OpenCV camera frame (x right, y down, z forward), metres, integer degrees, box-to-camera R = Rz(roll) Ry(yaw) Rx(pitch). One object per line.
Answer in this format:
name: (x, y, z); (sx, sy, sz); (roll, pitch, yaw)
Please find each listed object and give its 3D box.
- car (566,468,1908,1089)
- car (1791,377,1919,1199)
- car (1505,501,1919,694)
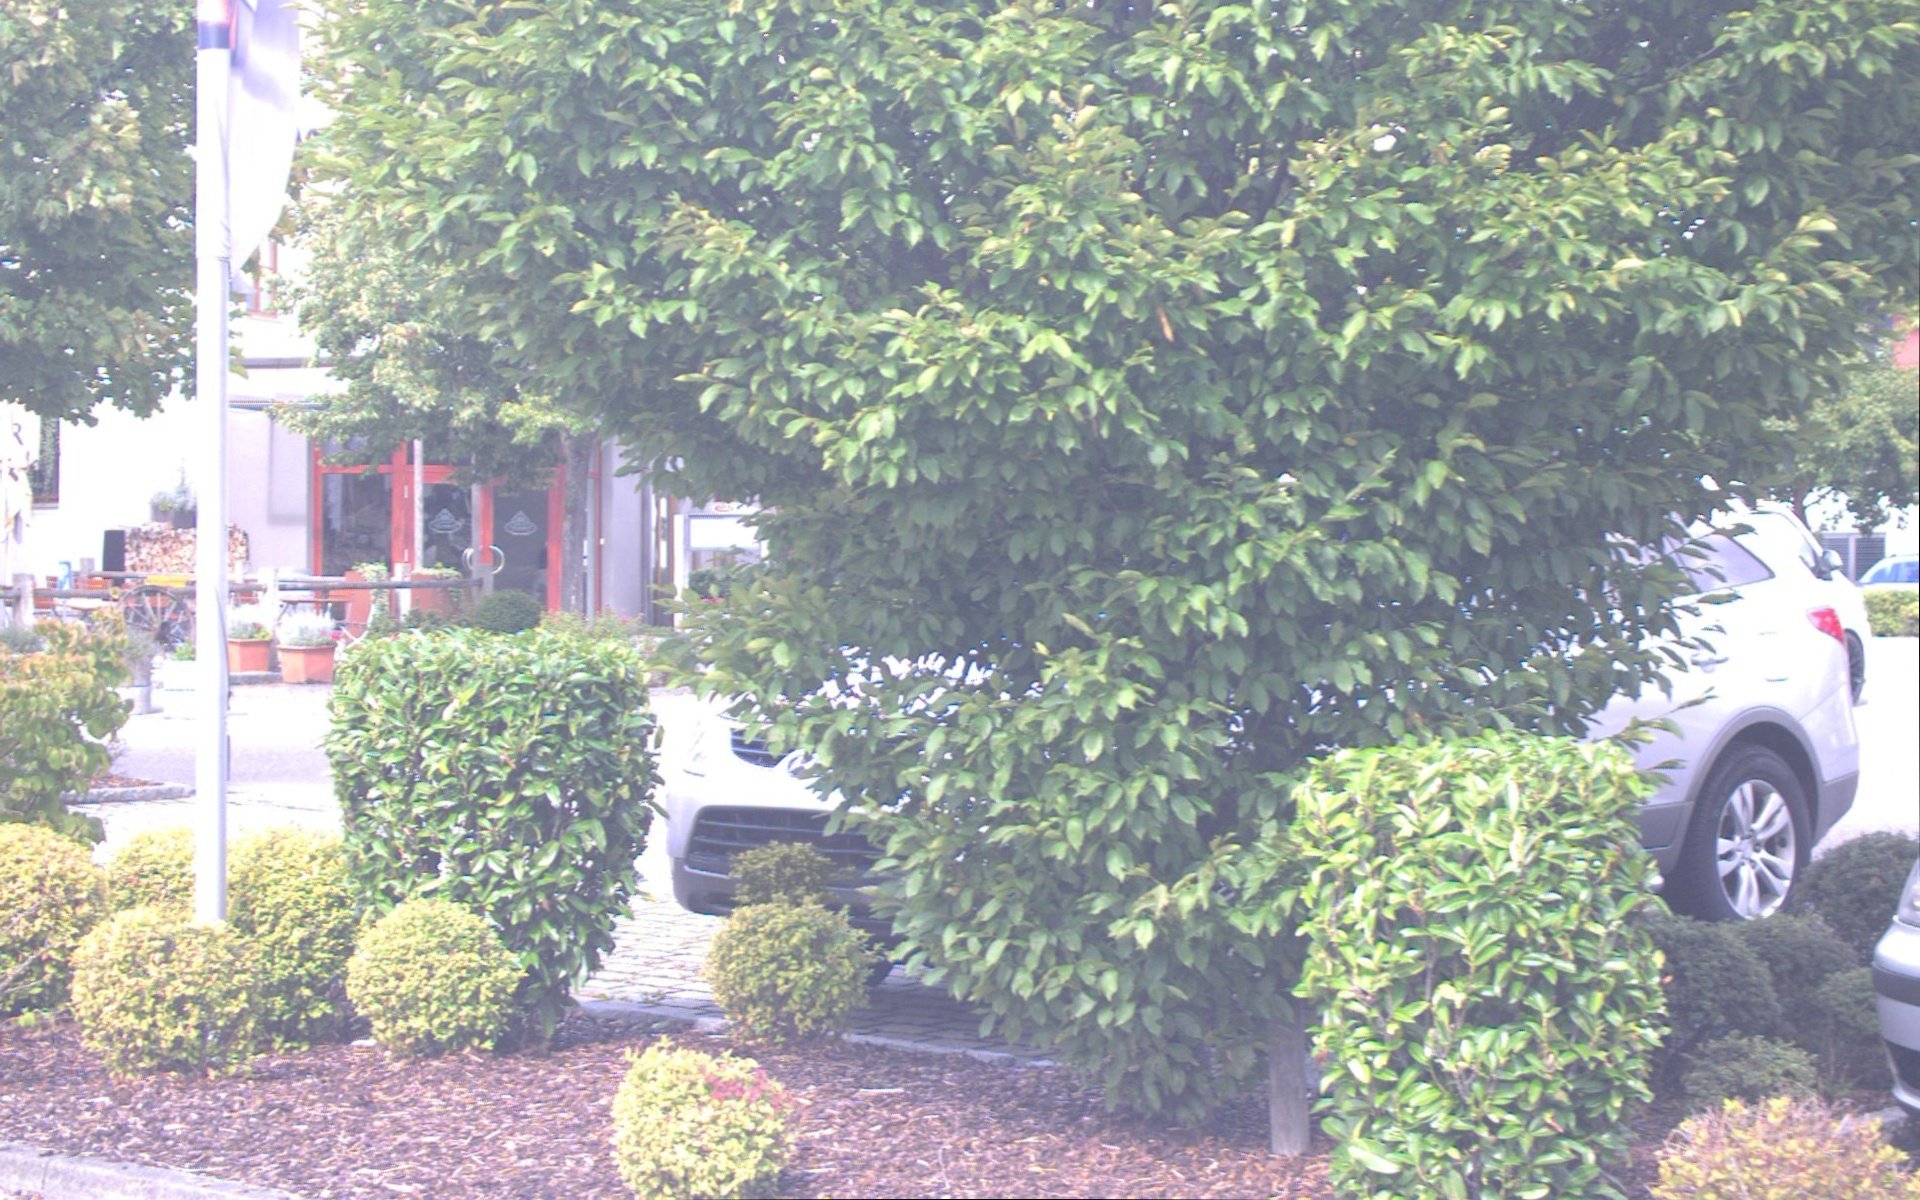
car: (1.125, 0.431, 11.667); (4.667, 1.690, 1.918); (-2, 1, -44)
car: (3.851, 0.421, 7.978); (4.352, 1.710, 1.656); (0, 1, -44)
car: (6.720, -0.030, 30.345); (1.766, 1.585, 3.989); (1, 1, 45)
